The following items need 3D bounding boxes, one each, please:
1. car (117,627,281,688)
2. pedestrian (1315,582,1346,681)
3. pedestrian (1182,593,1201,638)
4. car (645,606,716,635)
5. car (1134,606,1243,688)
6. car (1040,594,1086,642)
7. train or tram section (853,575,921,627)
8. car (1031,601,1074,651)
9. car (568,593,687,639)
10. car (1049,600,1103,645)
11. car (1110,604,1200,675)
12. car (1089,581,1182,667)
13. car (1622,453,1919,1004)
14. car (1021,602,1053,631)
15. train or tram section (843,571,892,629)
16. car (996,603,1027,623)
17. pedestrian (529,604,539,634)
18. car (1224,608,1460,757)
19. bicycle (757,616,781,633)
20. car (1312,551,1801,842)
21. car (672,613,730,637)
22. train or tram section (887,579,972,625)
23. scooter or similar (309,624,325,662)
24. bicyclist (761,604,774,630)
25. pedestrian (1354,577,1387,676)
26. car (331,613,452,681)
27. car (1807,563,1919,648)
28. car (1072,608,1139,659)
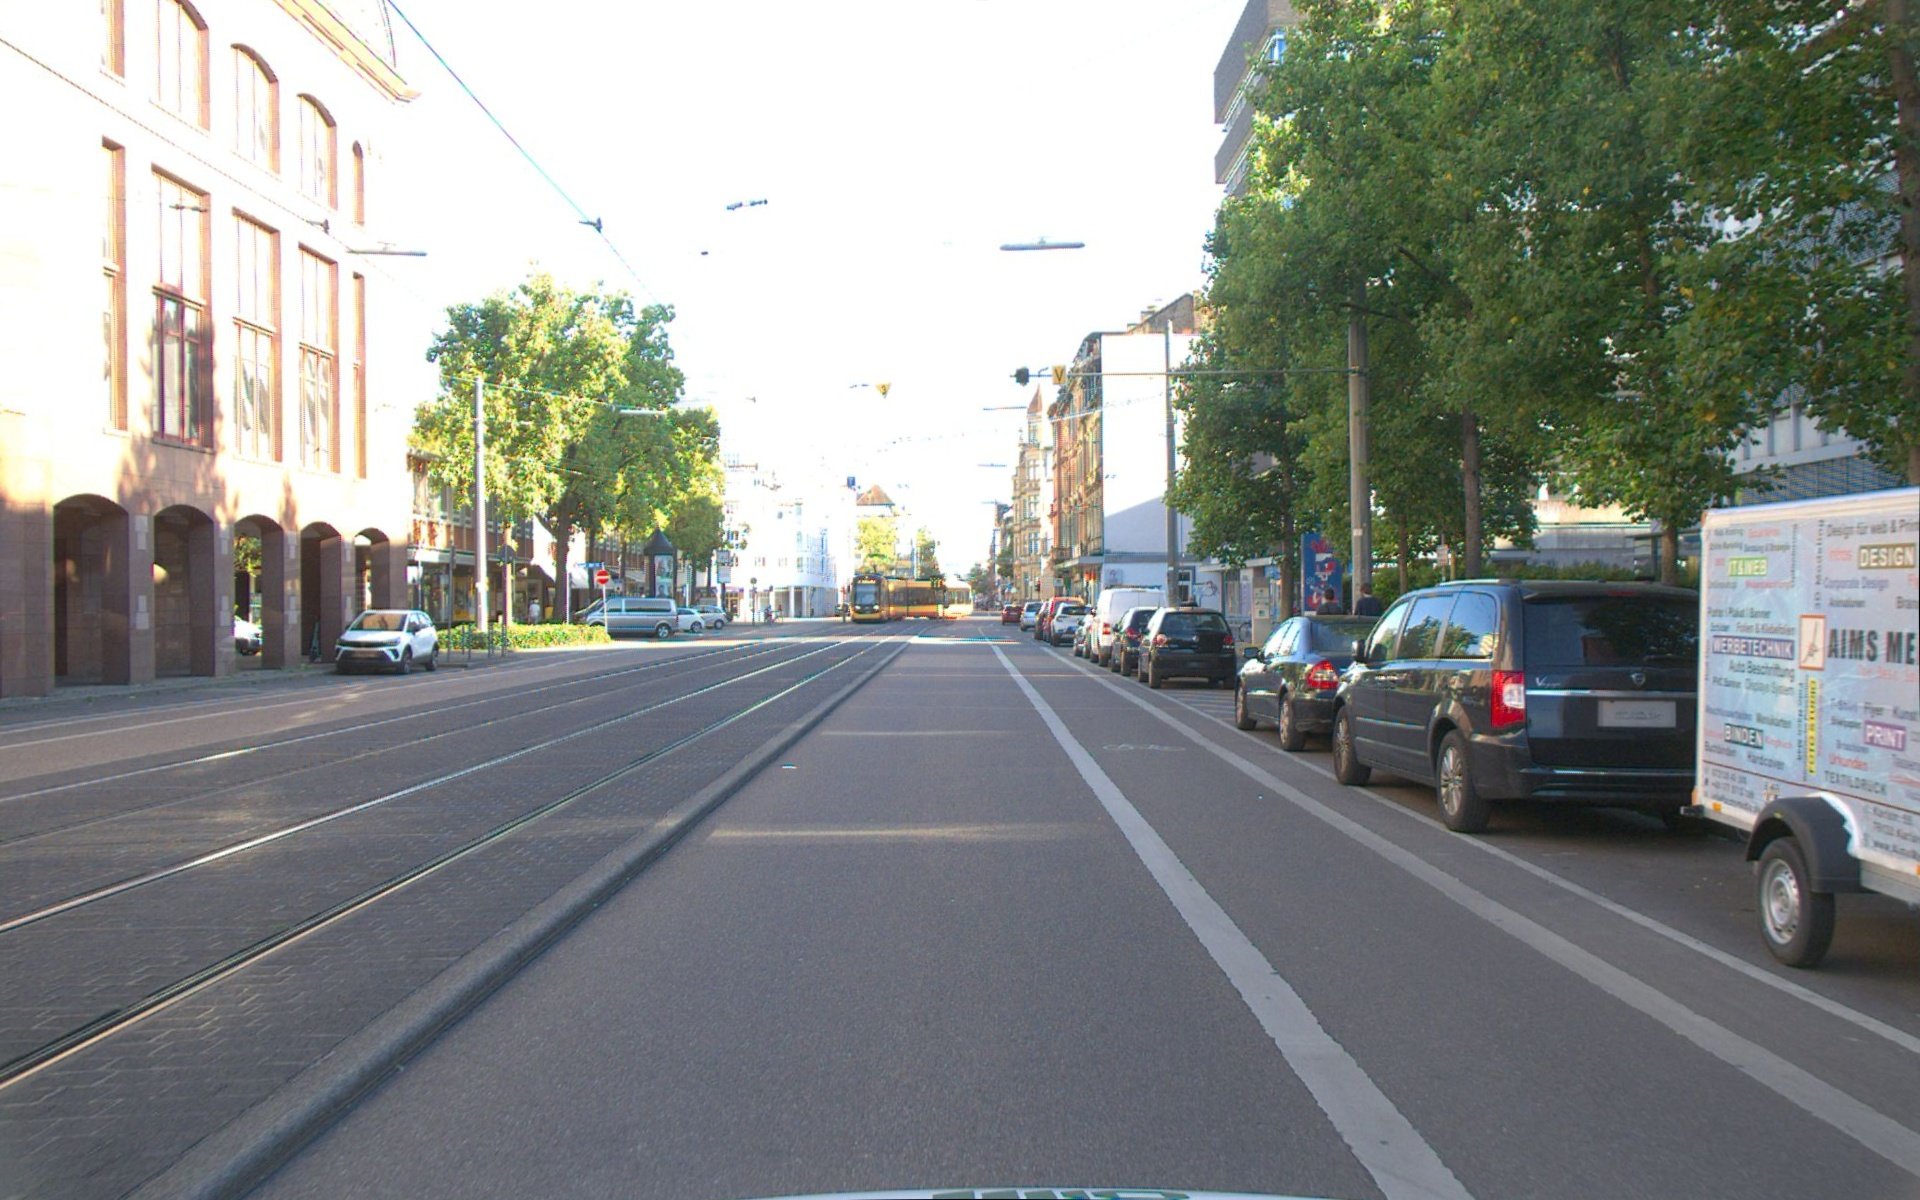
[{"bbox_3d":[-26.556,1.980,57.880,4.832,2.028,2.145,0,0,-13],"label":"car"},{"bbox_3d":[6.724,0.569,30.007,0.417,1.739,0.454,-2,4,18],"label":"pedestrian"},{"bbox_3d":[9.122,0.609,65.261,0.647,1.752,0.835,0,0,1],"label":"pedestrian"},{"bbox_3d":[-16.937,1.226,100.181,3.829,1.656,1.856,1,0,-31],"label":"car"},{"bbox_3d":[4.344,0.862,31.867,1.587,1.457,3.984,0,0,1],"label":"car"},{"bbox_3d":[4.183,0.720,67.783,1.588,1.845,4.082,1,0,0],"label":"car"},{"bbox_3d":[-5.842,0.088,134.819,2.634,3.946,12.854,2,0,10],"label":"train or tram section"},{"bbox_3d":[4.020,1.104,72.048,1.588,2.042,3.830,1,0,0],"label":"car"},{"bbox_3d":[-16.264,0.811,80.904,5.201,2.078,2.392,2,-2,-32],"label":"car"},{"bbox_3d":[4.296,0.819,61.694,1.688,1.595,4.082,-1,0,0],"label":"car"},{"bbox_3d":[4.317,0.836,37.100,1.587,1.499,3.970,0,0,0],"label":"car"},{"bbox_3d":[4.490,0.591,42.973,1.930,2.049,4.558,-2,0,1],"label":"car"},{"bbox_3d":[4.663,0.517,7.898,1.670,2.157,3.707,0,-1,3],"label":"car"},{"bbox_3d":[4.409,0.943,94.697,1.588,1.582,4.082,1,0,0],"label":"car"},{"bbox_3d":[-6.750,0.029,122.784,2.636,4.029,12.091,2,0,1],"label":"train or tram section"},{"bbox_3d":[3.753,0.946,121.168,2.023,1.413,4.225,2,0,0],"label":"car"},{"bbox_3d":[-19.948,0.884,77.448,0.357,1.367,0.480,2,0,-20],"label":"pedestrian"},{"bbox_3d":[4.351,0.867,19.552,1.681,1.452,4.675,0,1,0],"label":"car"},{"bbox_3d":[-15.101,1.933,130.487,1.990,1.261,0.696,2,0,42],"label":"bicycle"},{"bbox_3d":[4.343,0.623,13.087,1.910,1.819,5.180,1,0,-1],"label":"car"},{"bbox_3d":[-17.307,1.670,110.469,3.486,1.507,1.565,1,0,-32],"label":"car"},{"bbox_3d":[-2.574,0.258,145.952,2.639,3.818,11.278,2,0,26],"label":"train or tram section"},{"bbox_3d":[-17.149,1.146,44.129,0.357,0.955,0.967,2,0,-20],"label":"scooter or similar"},{"bbox_3d":[-15.225,1.367,130.612,0.711,2.049,0.696,1,0,43],"label":"bicyclist"},{"bbox_3d":[7.401,0.478,29.825,0.488,1.739,0.454,-2,2,18],"label":"pedestrian"},{"bbox_3d":[-14.687,1.170,42.942,1.832,1.628,4.252,0,0,-3],"label":"car"},{"bbox_3d":[18.430,0.068,31.887,1.828,1.520,4.436,-2,1,-2],"label":"car"},{"bbox_3d":[4.298,0.964,49.230,1.588,1.394,3.930,1,0,0],"label":"car"}]
